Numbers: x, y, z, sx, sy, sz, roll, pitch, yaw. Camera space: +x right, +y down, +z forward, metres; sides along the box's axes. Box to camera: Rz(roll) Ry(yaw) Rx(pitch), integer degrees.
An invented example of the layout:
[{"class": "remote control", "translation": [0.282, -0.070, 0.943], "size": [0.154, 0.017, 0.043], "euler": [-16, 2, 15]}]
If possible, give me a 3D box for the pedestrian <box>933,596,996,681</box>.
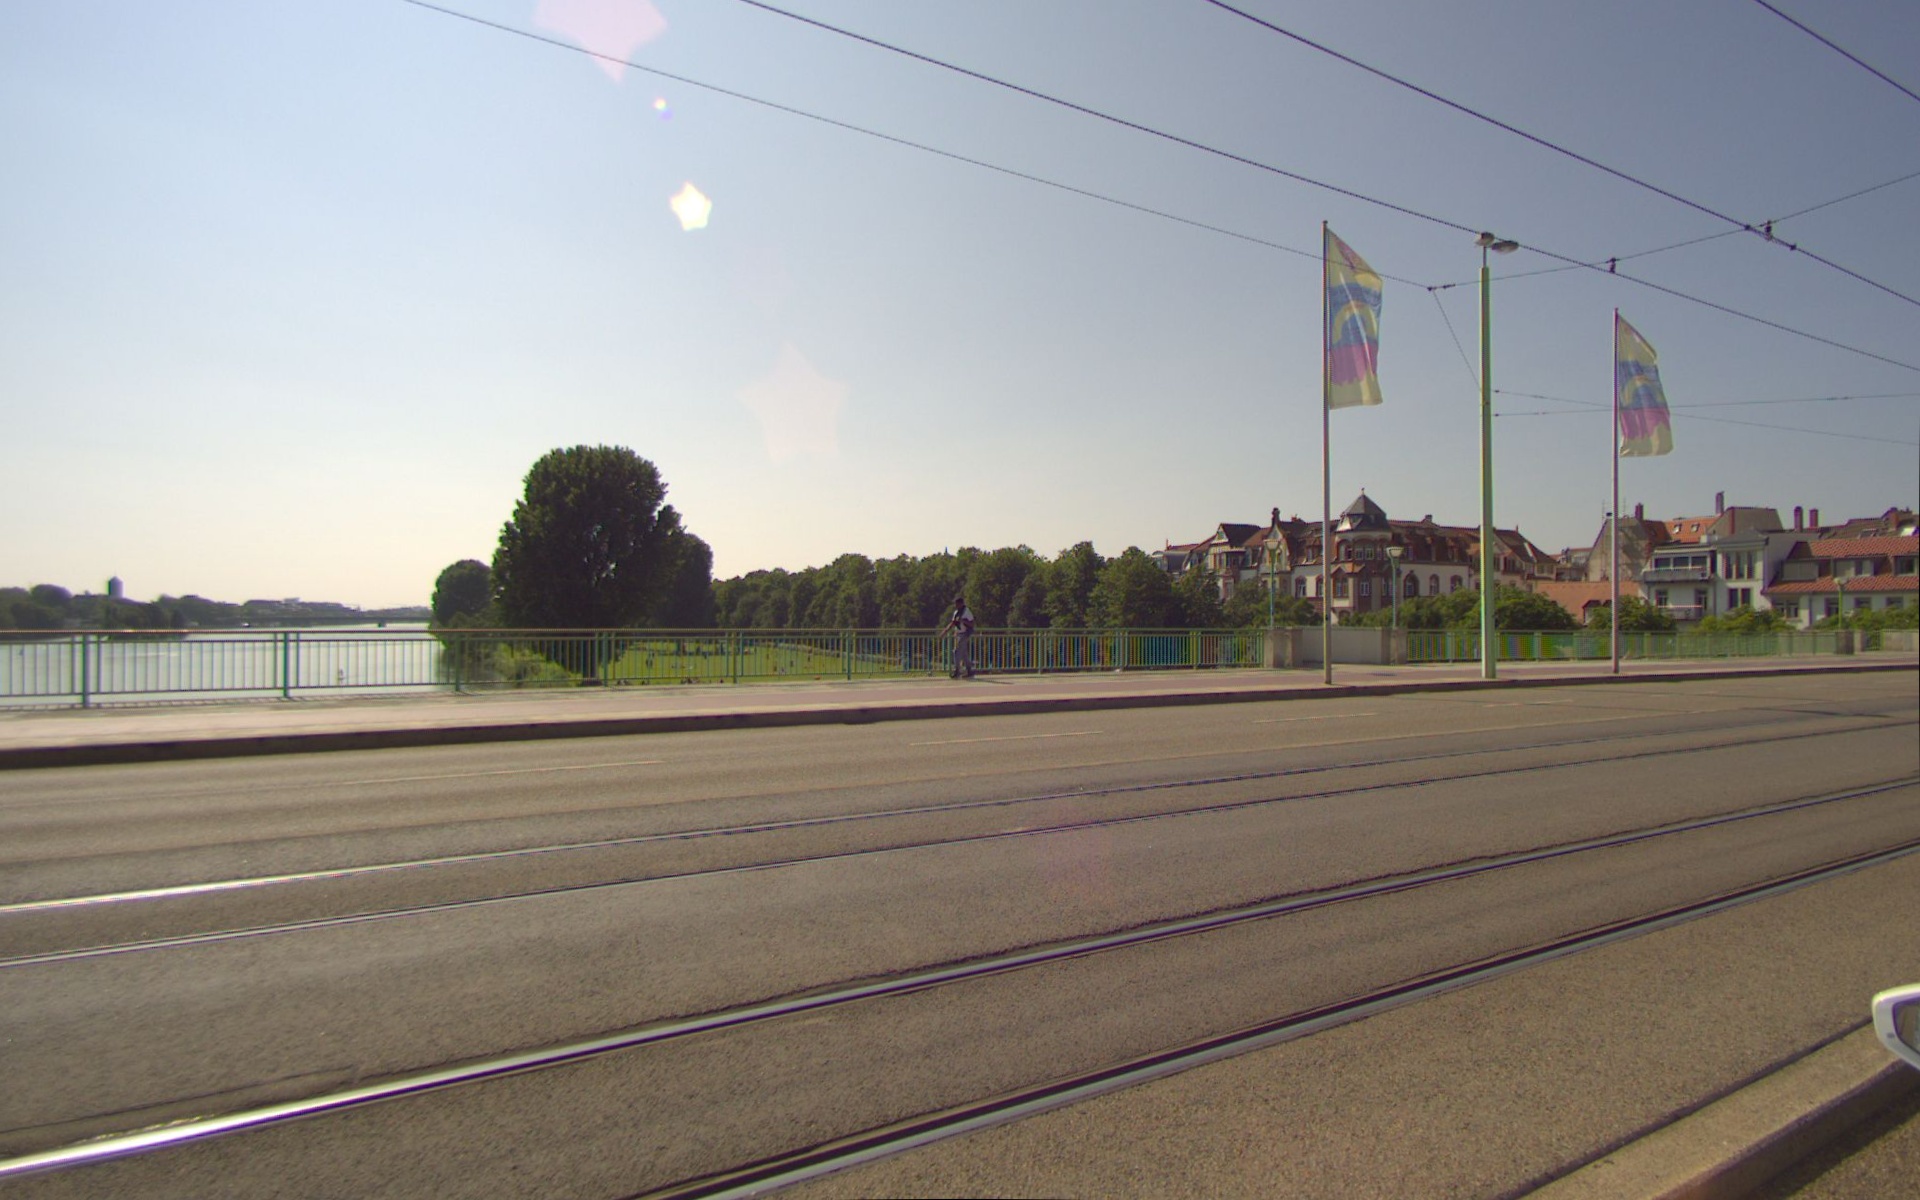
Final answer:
[{"class": "pedestrian", "translation": [0.096, 0.811, 21.691], "size": [1.081, 1.745, 0.826], "euler": [0, 2, -30]}]
